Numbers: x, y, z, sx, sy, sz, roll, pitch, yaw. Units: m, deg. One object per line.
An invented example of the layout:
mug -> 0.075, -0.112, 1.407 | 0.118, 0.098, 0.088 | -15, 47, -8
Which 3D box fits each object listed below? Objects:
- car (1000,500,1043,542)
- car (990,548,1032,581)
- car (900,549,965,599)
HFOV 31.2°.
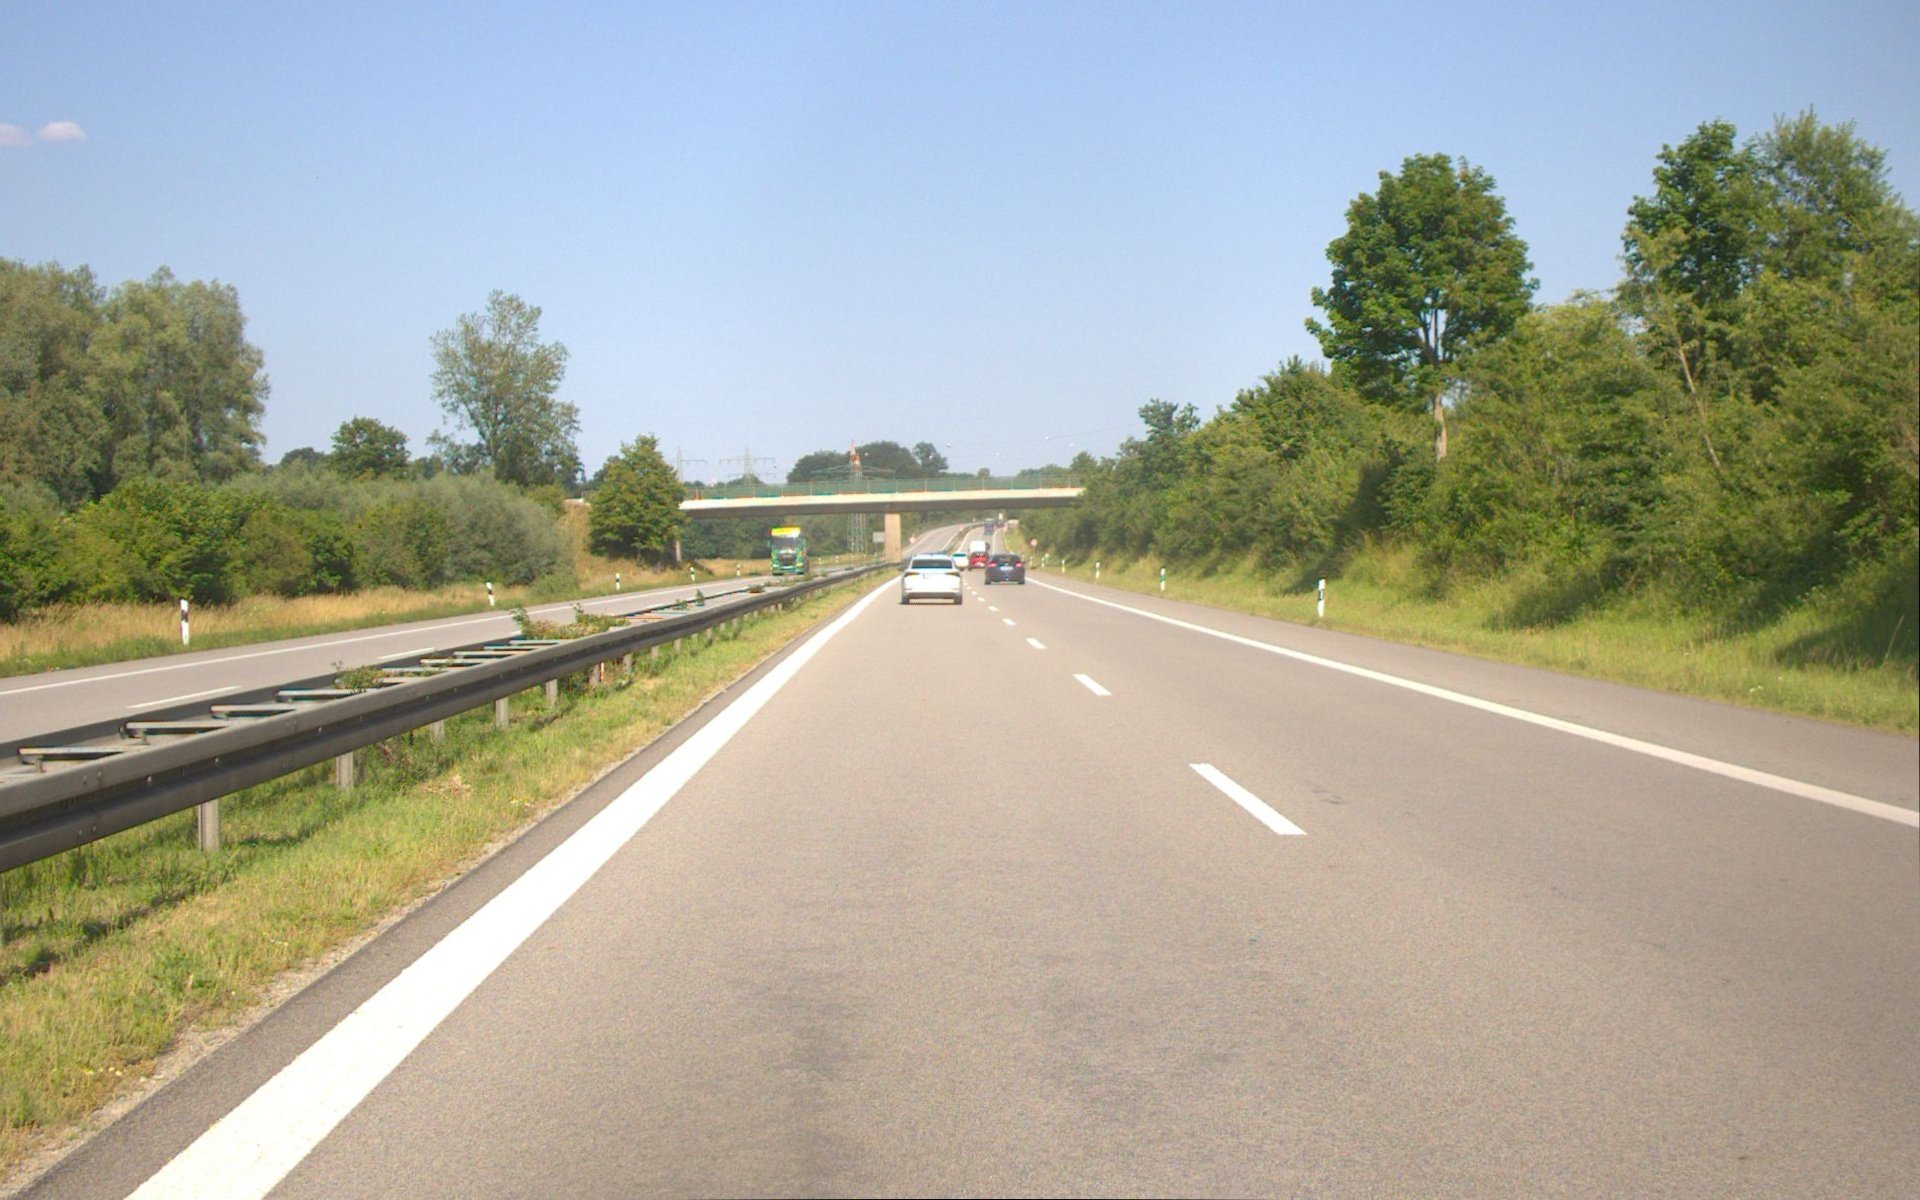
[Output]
car -> 3.053, -3.944, 172.374 | 1.993, 2.007, 4.000 | 1, 1, -1
car -> 2.394, -1.655, 162.080 | 1.843, 1.515, 4.000 | 1, 1, 0
car -> -0.810, -0.766, 100.462 | 1.843, 1.411, 4.000 | 1, 1, 0
